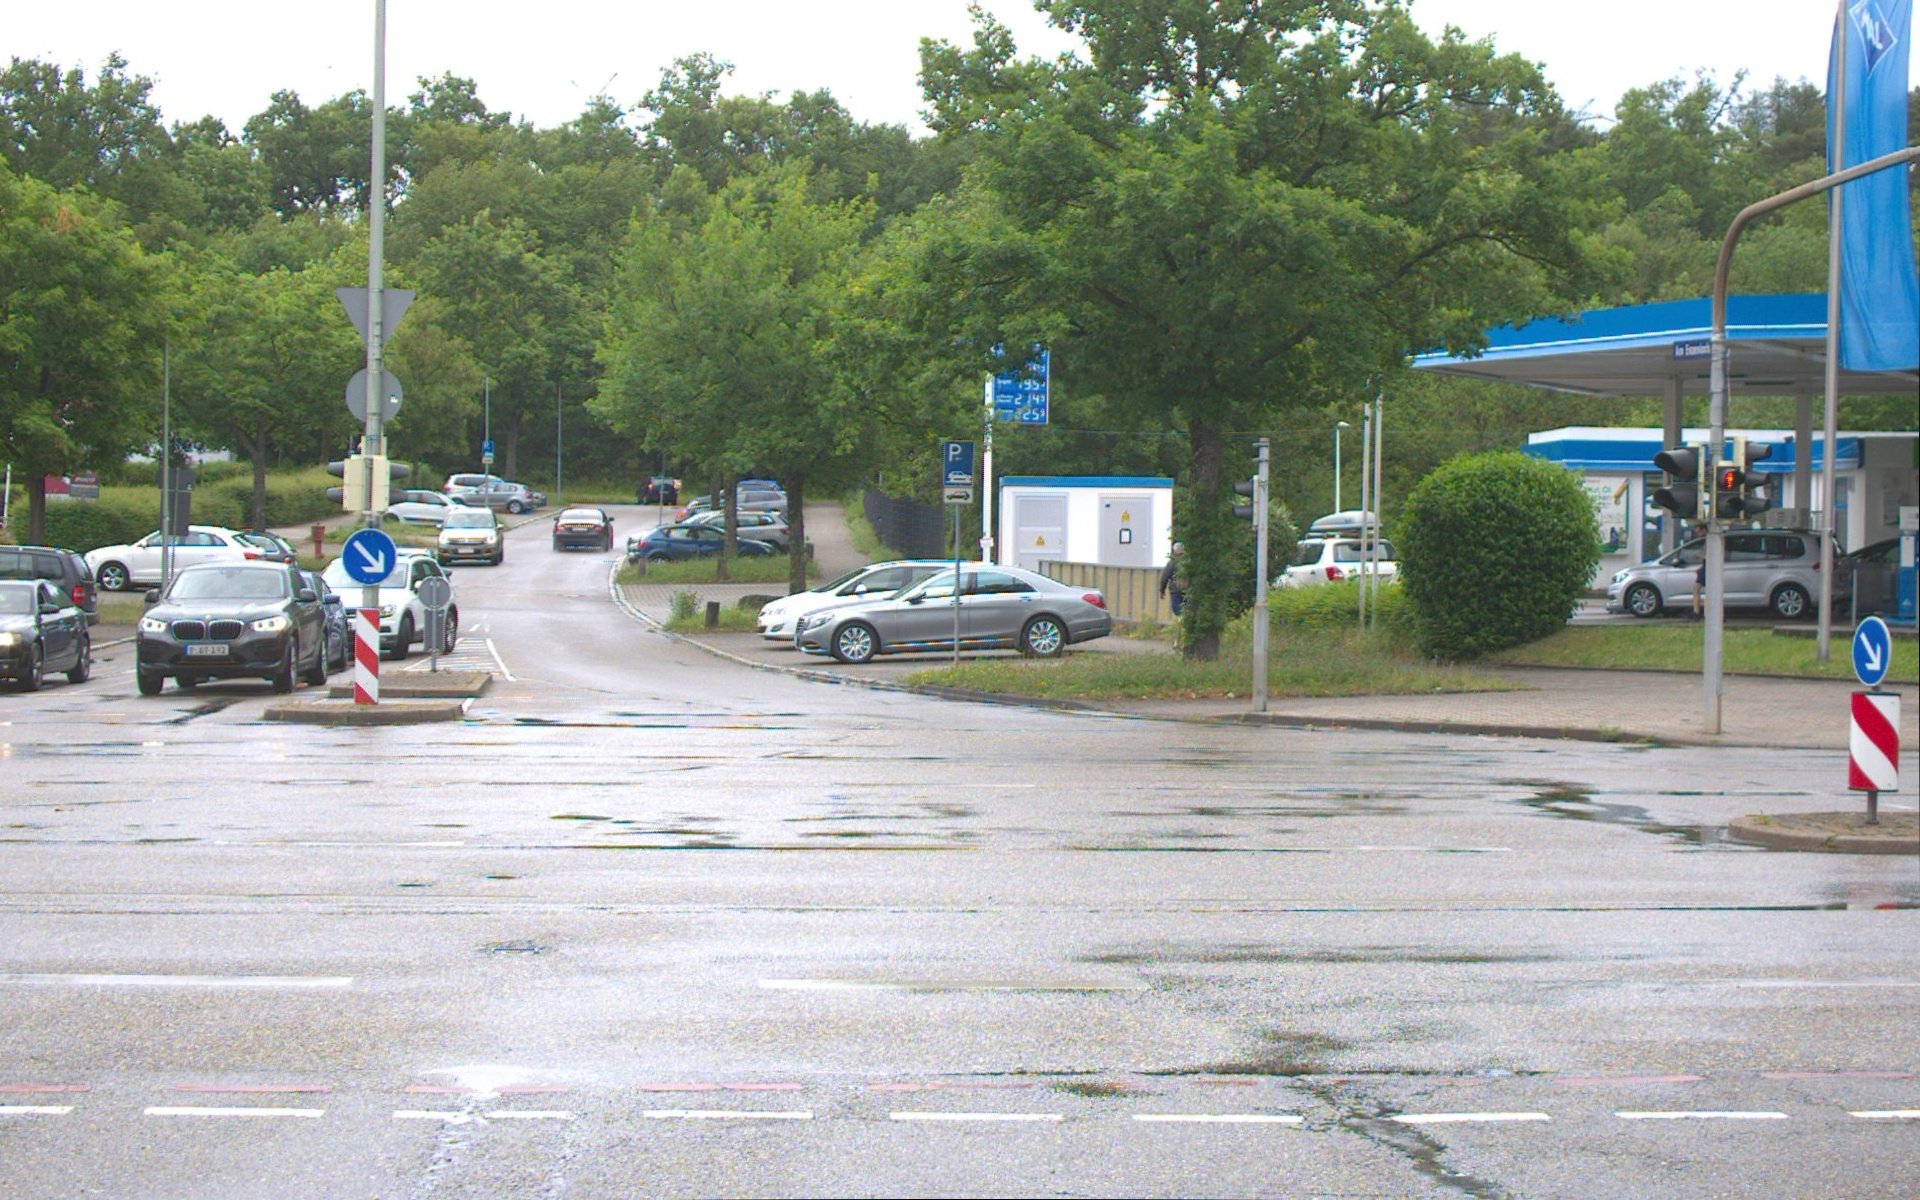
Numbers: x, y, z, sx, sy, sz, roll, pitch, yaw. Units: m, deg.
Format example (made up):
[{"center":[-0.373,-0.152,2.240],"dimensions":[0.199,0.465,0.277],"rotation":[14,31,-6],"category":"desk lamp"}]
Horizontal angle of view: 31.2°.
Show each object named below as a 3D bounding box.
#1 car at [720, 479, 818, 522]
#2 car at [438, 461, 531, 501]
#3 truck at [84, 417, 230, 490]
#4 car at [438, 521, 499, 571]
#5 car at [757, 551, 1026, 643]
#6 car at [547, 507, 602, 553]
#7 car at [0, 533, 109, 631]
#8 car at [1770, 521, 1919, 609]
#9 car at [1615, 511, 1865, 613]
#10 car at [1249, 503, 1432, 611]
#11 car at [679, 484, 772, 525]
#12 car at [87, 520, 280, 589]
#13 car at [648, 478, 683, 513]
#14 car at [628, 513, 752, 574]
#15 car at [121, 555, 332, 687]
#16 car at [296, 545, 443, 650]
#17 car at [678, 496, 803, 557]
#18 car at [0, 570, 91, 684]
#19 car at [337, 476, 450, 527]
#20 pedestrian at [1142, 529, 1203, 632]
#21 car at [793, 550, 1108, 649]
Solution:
[{"center":[-7.973,-4.140,143.521],"dimensions":[3.986,1.733,1.811],"rotation":[0,0,-6],"category":"car"},{"center":[-21.514,-5.384,155.720],"dimensions":[3.986,1.788,1.856],"rotation":[0,0,-2],"category":"car"},{"center":[-44.122,-8.064,189.084],"dimensions":[7.366,3.847,2.778],"rotation":[0,0,-1],"category":"truck"},{"center":[-14.758,-1.610,103.322],"dimensions":[1.697,1.451,3.674],"rotation":[0,0,-6],"category":"car"},{"center":[-1.242,-0.052,60.960],"dimensions":[4.571,1.583,1.930],"rotation":[0,0,-7],"category":"car"},{"center":[-12.926,-2.329,115.239],"dimensions":[1.807,1.477,3.752],"rotation":[0,0,-6],"category":"car"},{"center":[-17.141,-0.330,61.233],"dimensions":[3.648,1.719,1.685],"rotation":[0,0,-7],"category":"car"},{"center":[18.236,-0.684,68.011],"dimensions":[3.993,1.722,1.792],"rotation":[0,0,27],"category":"car"},{"center":[14.560,-0.715,64.185],"dimensions":[4.122,1.801,1.942],"rotation":[1,0,30],"category":"car"},{"center":[6.554,-0.733,59.590],"dimensions":[1.808,1.791,3.701],"rotation":[1,0,-17],"category":"car"},{"center":[-10.315,-4.201,150.951],"dimensions":[3.986,1.733,1.811],"rotation":[0,0,-6],"category":"car"},{"center":[-18.589,-1.077,82.413],"dimensions":[4.271,1.604,1.685],"rotation":[0,0,-3],"category":"car"},{"center":[-15.676,-5.560,183.069],"dimensions":[1.804,1.733,4.001],"rotation":[0,0,-5],"category":"car"},{"center":[-7.622,-1.590,96.982],"dimensions":[3.459,1.649,1.616],"rotation":[1,0,-5],"category":"car"},{"center":[-9.058,0.237,42.789],"dimensions":[1.895,1.548,4.593],"rotation":[0,0,-4],"category":"car"},{"center":[-9.403,-0.071,54.972],"dimensions":[1.895,1.547,4.001],"rotation":[0,2,-4],"category":"car"},{"center":[-6.627,-2.193,103.552],"dimensions":[3.697,1.744,1.697],"rotation":[1,0,-5],"category":"car"},{"center":[-12.508,0.320,44.388],"dimensions":[1.782,1.399,4.000],"rotation":[0,0,-4],"category":"car"},{"center":[-20.595,-3.590,125.126],"dimensions":[3.986,1.788,1.857],"rotation":[0,0,-7],"category":"car"},{"center":[3.442,-0.309,55.830],"dimensions":[0.808,1.656,0.887],"rotation":[0,0,-9],"category":"pedestrian"},{"center":[-0.190,-0.006,55.649],"dimensions":[4.885,1.543,2.000],"rotation":[0,0,-7],"category":"car"}]
